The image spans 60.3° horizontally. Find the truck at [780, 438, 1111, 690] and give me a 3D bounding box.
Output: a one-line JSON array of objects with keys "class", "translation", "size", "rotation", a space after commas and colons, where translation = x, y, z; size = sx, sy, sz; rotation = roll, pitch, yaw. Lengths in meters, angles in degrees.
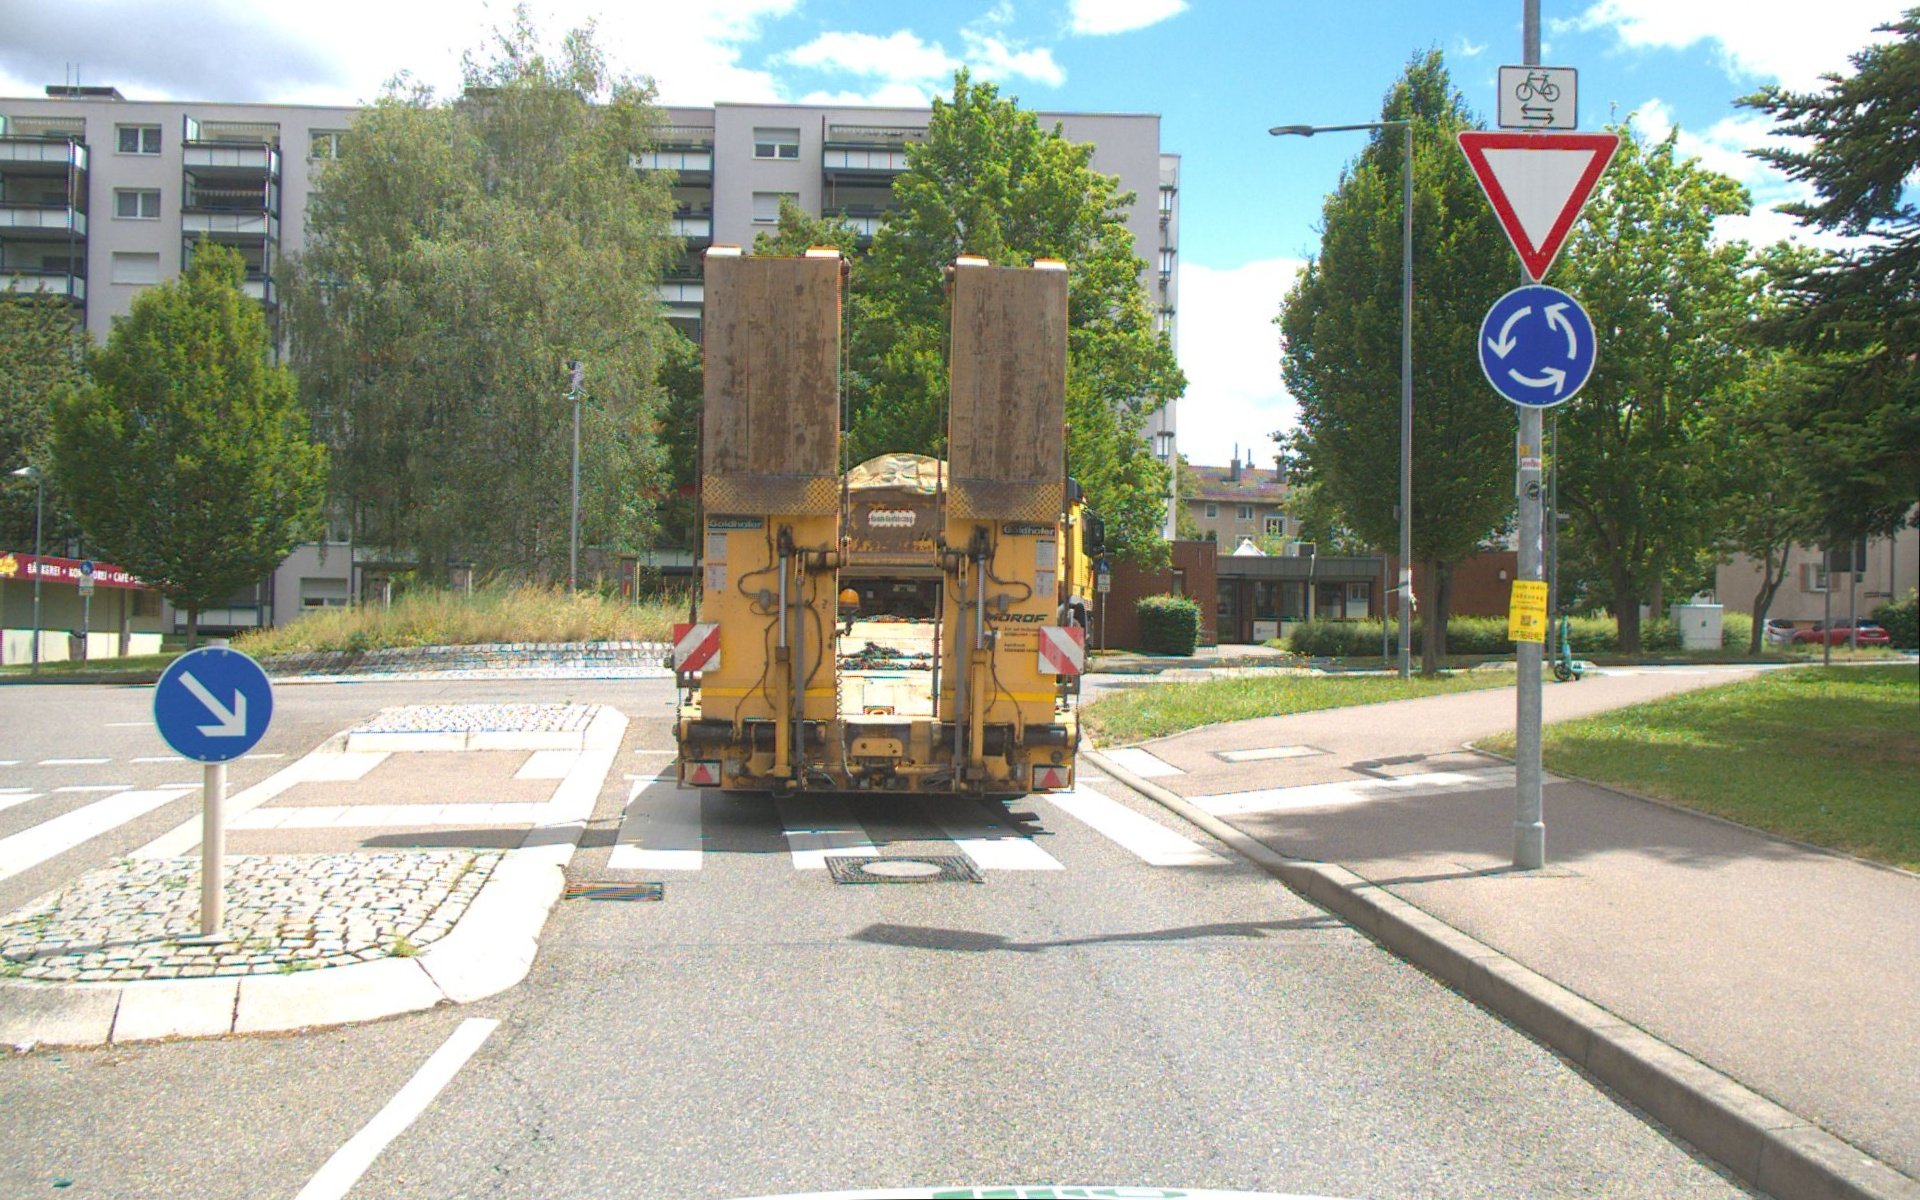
[{"class": "truck", "translation": [0.160, -0.528, 25.033], "size": [2.924, 3.087, 8.493], "rotation": [2, 1, 14]}]

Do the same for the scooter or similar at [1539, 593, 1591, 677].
[{"class": "scooter or similar", "translation": [10.211, 0.573, 27.886], "size": [0.476, 1.366, 1.383], "rotation": [-1, 0, 35]}]

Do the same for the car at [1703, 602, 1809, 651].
[{"class": "car", "translation": [34.678, 1.132, 72.177], "size": [1.962, 1.975, 3.981], "rotation": [2, 0, -17]}]

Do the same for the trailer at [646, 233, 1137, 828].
[{"class": "trailer", "translation": [-0.535, -0.469, 15.232], "size": [2.806, 3.431, 10.838], "rotation": [2, 1, -1]}]

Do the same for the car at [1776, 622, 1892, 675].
[{"class": "car", "translation": [35.858, 1.969, 67.944], "size": [1.980, 1.975, 3.981], "rotation": [2, -1, -17]}]
